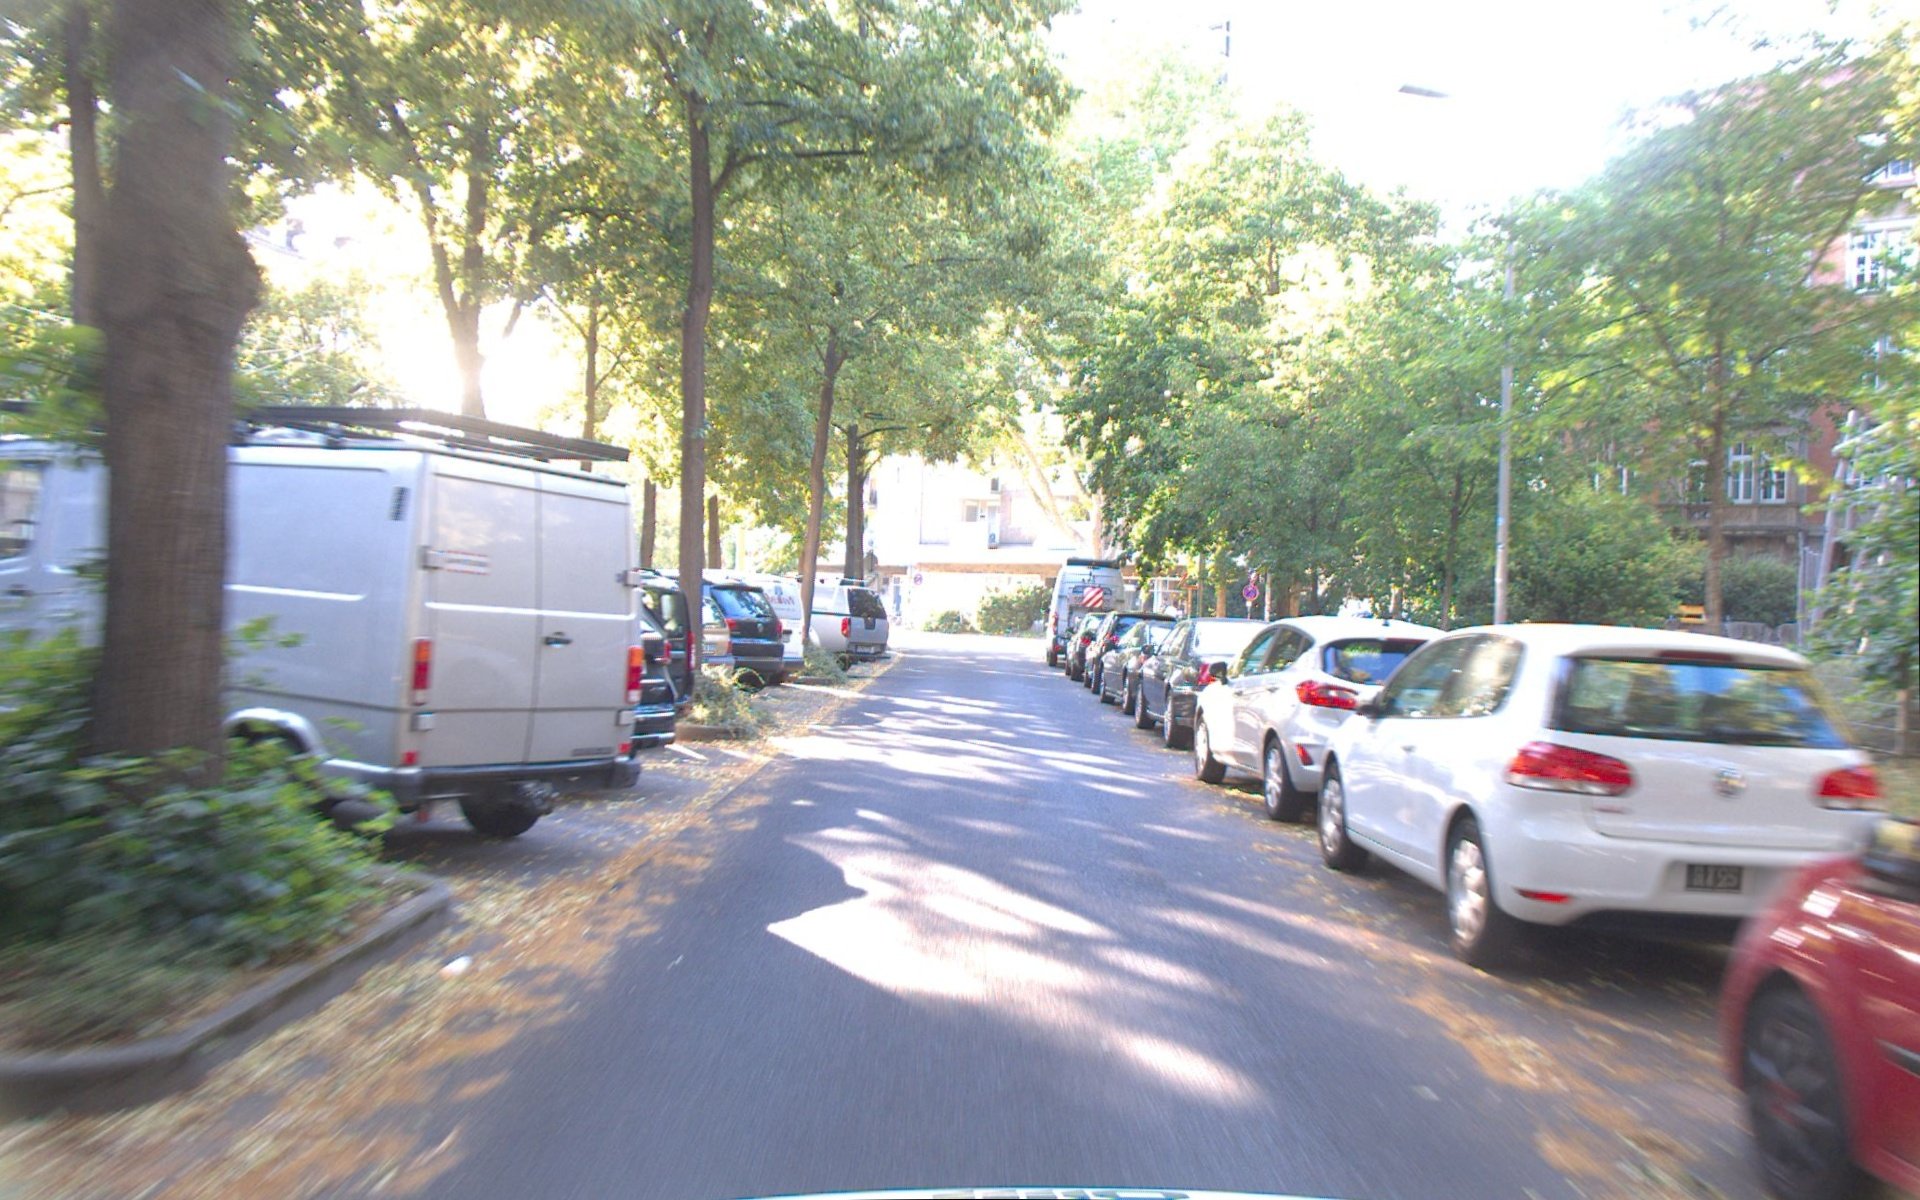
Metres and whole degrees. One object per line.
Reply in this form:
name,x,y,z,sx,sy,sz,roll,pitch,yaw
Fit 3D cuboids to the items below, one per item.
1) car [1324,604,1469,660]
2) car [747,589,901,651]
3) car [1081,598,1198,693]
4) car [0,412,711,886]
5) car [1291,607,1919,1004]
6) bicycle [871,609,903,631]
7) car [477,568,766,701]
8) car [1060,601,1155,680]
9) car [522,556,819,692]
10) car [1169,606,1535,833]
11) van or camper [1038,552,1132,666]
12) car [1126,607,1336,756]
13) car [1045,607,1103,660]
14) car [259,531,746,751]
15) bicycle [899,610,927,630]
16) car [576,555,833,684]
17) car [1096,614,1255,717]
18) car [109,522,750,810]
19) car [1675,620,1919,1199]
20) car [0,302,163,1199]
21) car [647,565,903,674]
car,14.104,1.022,53.581,1.729,1.579,4.207,7,-4,-44
car,-4.016,0.585,48.893,4.105,1.463,1.830,5,0,25
car,3.215,0.779,30.321,1.646,1.552,4.287,2,0,0
car,-4.369,0.110,10.005,5.395,2.174,2.077,5,0,29
car,2.988,0.813,8.485,1.646,1.479,4.075,2,0,-1
bicycle,-3.687,1.019,83.675,0.632,1.040,2.064,2,0,-33
car,-4.543,0.456,22.173,3.354,1.450,1.830,5,0,30
car,3.140,0.832,35.898,1.646,1.552,4.489,2,0,0
car,-4.381,0.350,24.910,4.073,1.672,1.910,5,0,32
car,2.958,0.835,13.392,1.648,1.479,4.072,2,0,-5
van or camper,3.311,0.227,44.912,2.041,2.810,5.845,2,0,0
car,3.029,0.851,19.377,1.646,1.449,4.658,2,0,0
car,3.537,1.029,51.864,1.646,1.471,3.873,4,0,3
car,-4.459,0.347,15.993,4.421,1.644,1.851,5,0,29
bicycle,-2.341,0.990,81.745,0.538,0.920,1.715,2,0,-34
car,-4.385,0.317,28.133,4.078,1.812,1.877,5,0,36
car,3.096,0.905,24.533,1.646,1.305,4.286,2,0,-2
car,-4.065,0.429,12.688,4.416,1.644,1.934,5,0,23
car,3.000,0.829,3.251,1.558,1.479,3.554,2,0,-1
car,-4.090,0.253,3.663,4.615,1.976,1.929,5,0,32
car,-3.839,0.389,34.137,4.892,1.812,1.985,5,0,27
